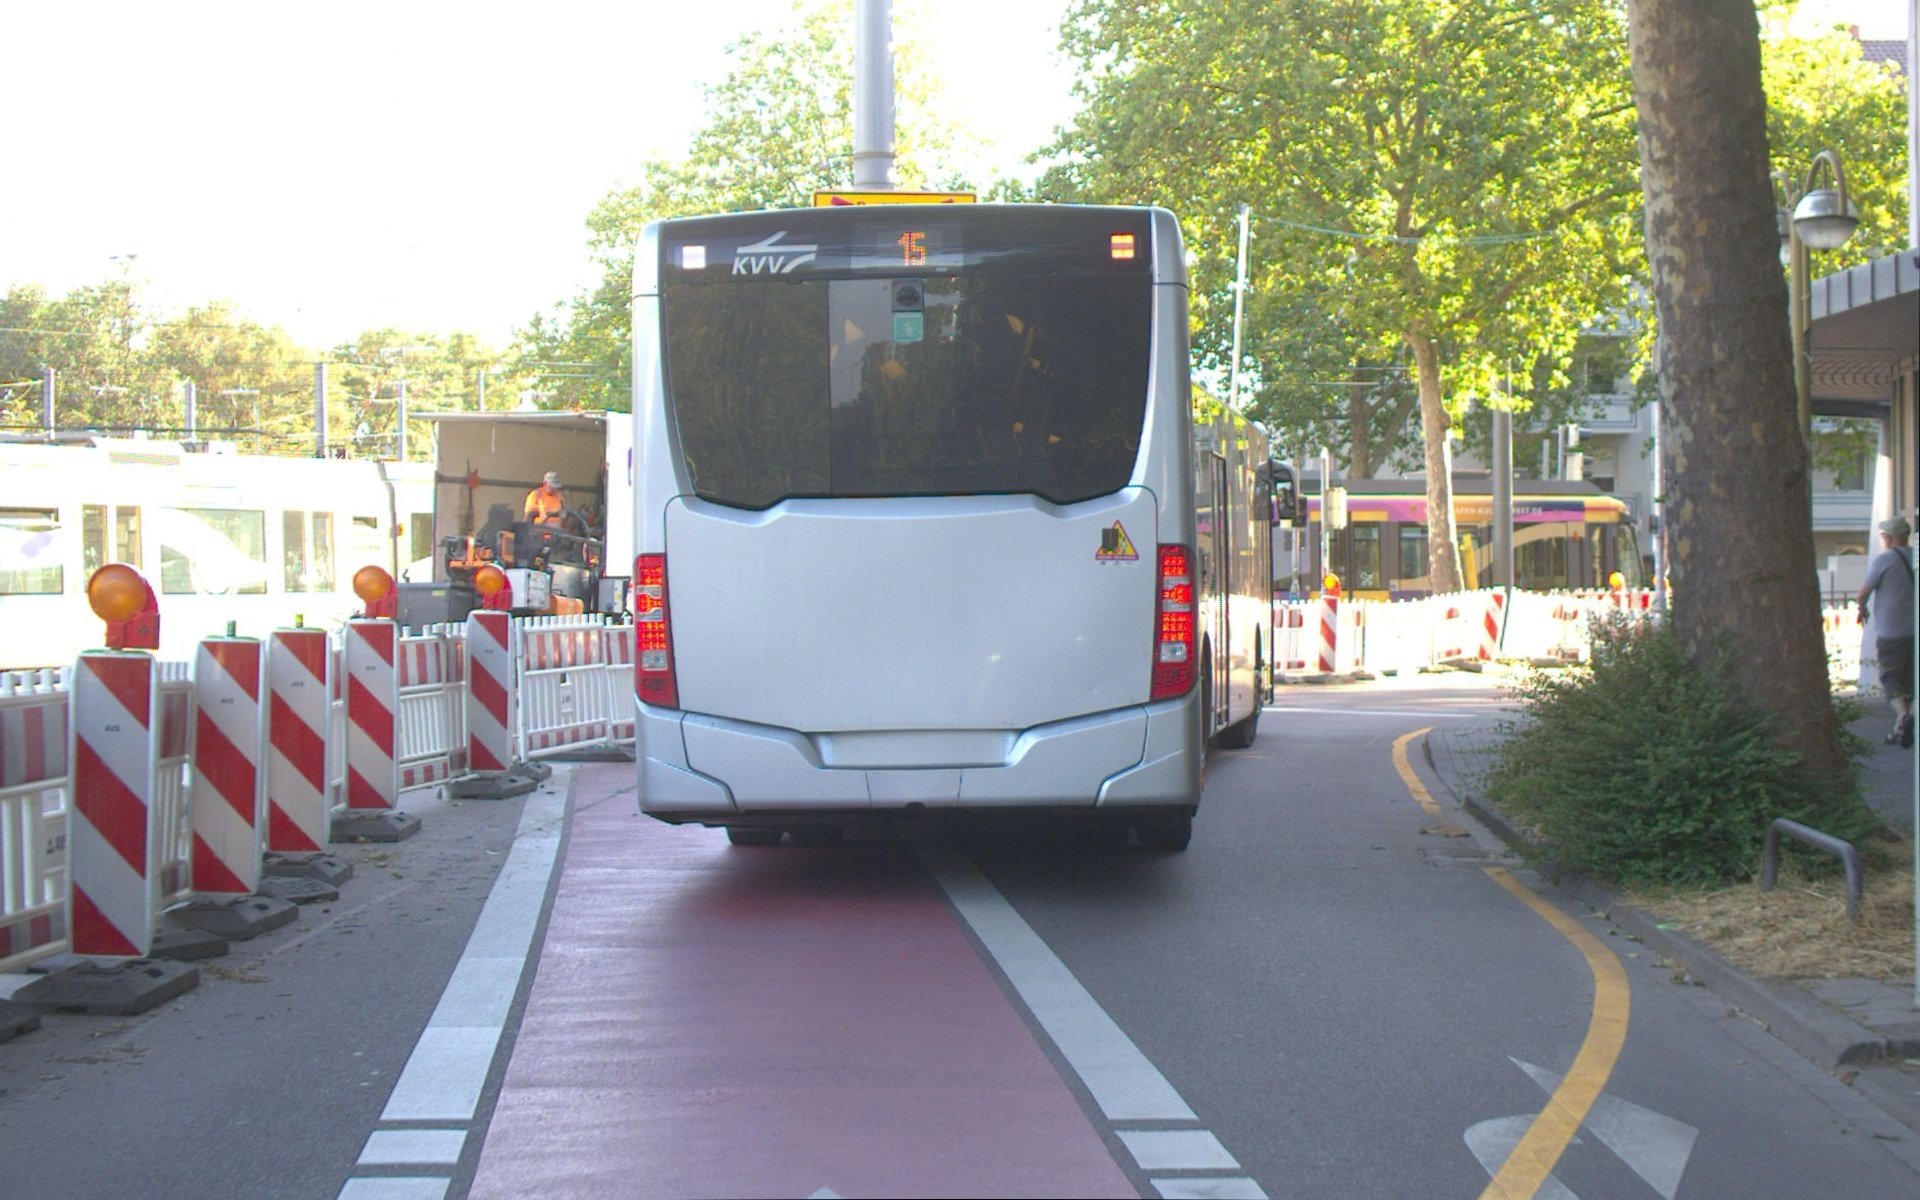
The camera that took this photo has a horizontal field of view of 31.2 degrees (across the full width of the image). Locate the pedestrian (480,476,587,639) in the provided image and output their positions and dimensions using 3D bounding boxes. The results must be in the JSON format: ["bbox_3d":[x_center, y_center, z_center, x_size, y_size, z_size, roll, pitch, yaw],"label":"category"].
[{"bbox_3d":[-5.298,-0.539,42.727,0.937,2.006,1.000,0,2,22],"label":"pedestrian"}]

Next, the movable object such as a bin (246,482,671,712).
[{"bbox_3d":[-5.241,-0.064,36.773,1.996,2.249,5.201,2,1,24],"label":"movable object such as a bin"}]

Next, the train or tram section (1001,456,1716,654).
[{"bbox_3d":[7.503,-0.770,64.026,13.285,3.507,2.650,0,0,-17],"label":"train or tram section"}]

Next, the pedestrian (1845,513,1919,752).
[{"bbox_3d":[6.913,0.225,25.155,0.583,1.702,0.679,-3,1,-3],"label":"pedestrian"}]

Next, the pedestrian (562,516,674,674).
[{"bbox_3d":[-3.944,-0.063,39.698,0.973,1.792,1.069,0,1,14],"label":"pedestrian"}]

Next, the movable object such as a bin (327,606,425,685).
[{"bbox_3d":[-6.950,0.530,40.965,0.932,0.914,1.420,0,0,-1],"label":"movable object such as a bin"}]

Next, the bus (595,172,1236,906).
[{"bbox_3d":[0.210,-0.343,20.116,2.734,3.128,10.702,1,1,4],"label":"bus"}]

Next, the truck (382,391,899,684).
[{"bbox_3d":[-4.019,-0.799,46.077,2.816,3.529,8.971,0,1,24],"label":"truck"}]

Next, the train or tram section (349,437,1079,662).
[{"bbox_3d":[-3.935,-0.771,58.578,12.743,3.537,2.737,0,0,-34],"label":"train or tram section"}]

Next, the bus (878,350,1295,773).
[{"bbox_3d":[1.351,-0.330,29.835,2.709,3.096,8.977,0,1,8],"label":"bus"}]

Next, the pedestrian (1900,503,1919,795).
[{"bbox_3d":[6.041,0.272,19.692,0.899,1.704,1.071,-3,1,-3],"label":"pedestrian"}]

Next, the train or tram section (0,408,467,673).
[{"bbox_3d":[-12.312,-0.783,49.466,2.854,3.521,13.374,0,0,29],"label":"train or tram section"}]
